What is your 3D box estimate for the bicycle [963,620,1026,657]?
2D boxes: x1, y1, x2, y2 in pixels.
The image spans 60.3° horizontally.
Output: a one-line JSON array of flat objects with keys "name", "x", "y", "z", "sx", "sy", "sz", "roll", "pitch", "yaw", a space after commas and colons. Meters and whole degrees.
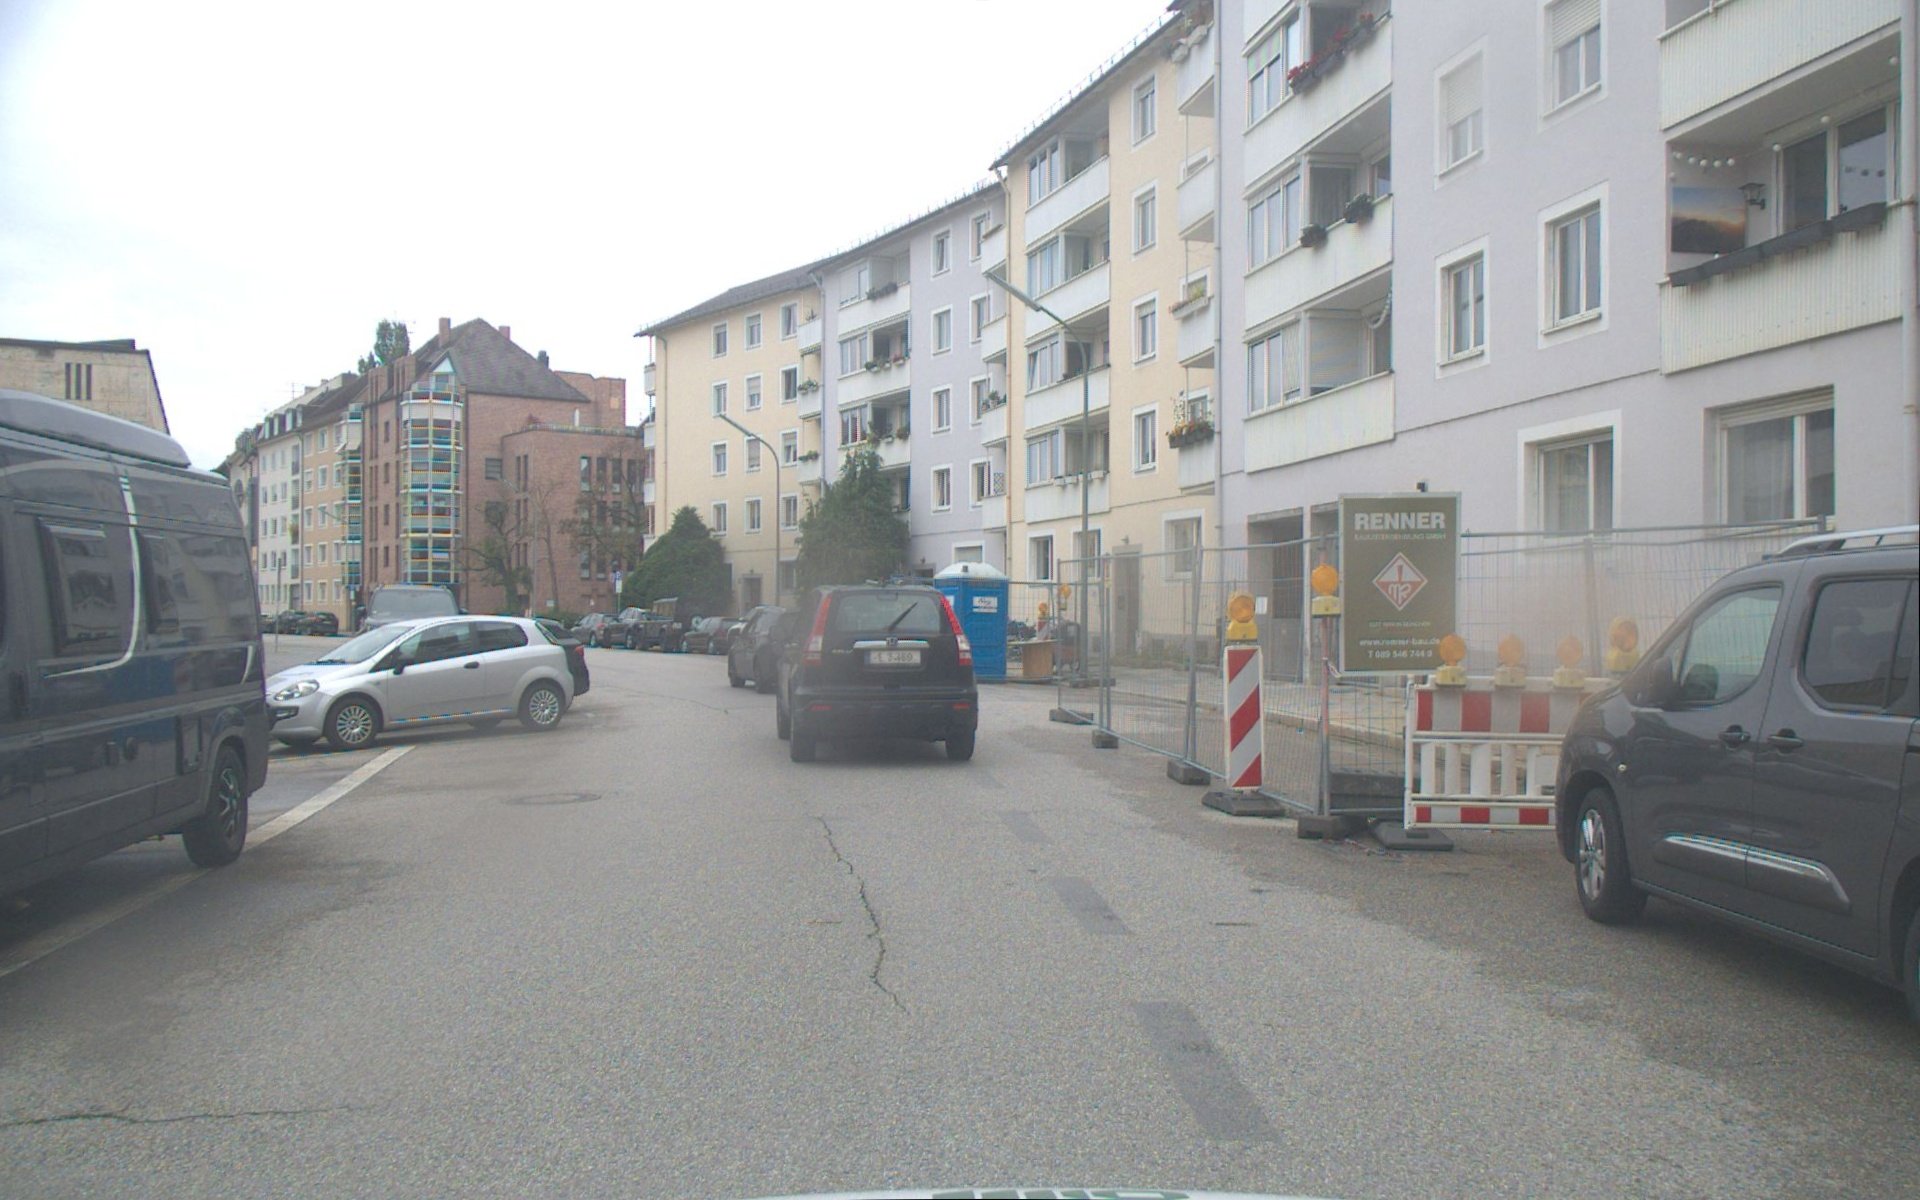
[{"name": "bicycle", "x": 1.046, "y": 1.159, "z": 50.350, "sx": 1.836, "sy": 1.110, "sz": 0.643, "roll": 0, "pitch": -1, "yaw": -17}]

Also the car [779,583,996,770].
[{"name": "car", "x": -0.858, "y": 0.696, "z": 16.901, "sx": 1.855, "sy": 1.676, "sz": 3.984, "roll": 0, "pitch": 0, "yaw": -8}]

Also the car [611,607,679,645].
[{"name": "car", "x": -12.527, "y": 1.024, "z": 65.704, "sx": 1.678, "sy": 1.413, "sz": 3.569, "roll": 1, "pitch": 0, "yaw": -28}]

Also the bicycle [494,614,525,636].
[{"name": "bicycle", "x": -27.200, "y": 1.485, "z": 99.930, "sx": 1.732, "sy": 1.311, "sz": 0.548, "roll": 1, "pitch": -1, "yaw": -25}]

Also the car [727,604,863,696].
[{"name": "car", "x": -2.986, "y": 0.824, "z": 29.274, "sx": 1.652, "sy": 1.507, "sz": 4.067, "roll": 0, "pitch": 0, "yaw": -17}]

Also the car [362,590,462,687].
[{"name": "car", "x": -10.679, "y": 0.696, "z": 32.064, "sx": 1.655, "sy": 1.737, "sz": 4.485, "roll": 0, "pitch": 0, "yaw": -21}]

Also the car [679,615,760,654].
[{"name": "car", "x": -8.420, "y": 1.183, "z": 57.714, "sx": 1.678, "sy": 1.258, "sz": 3.569, "roll": 1, "pitch": 0, "yaw": -28}]

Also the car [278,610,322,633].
[{"name": "car", "x": -45.225, "y": 1.473, "z": 113.326, "sx": 1.794, "sy": 1.498, "sz": 4.063, "roll": 1, "pitch": 0, "yaw": -37}]

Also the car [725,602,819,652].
[{"name": "car", "x": -6.127, "y": 0.846, "z": 53.596, "sx": 1.704, "sy": 1.509, "sz": 3.963, "roll": 1, "pitch": 0, "yaw": -28}]

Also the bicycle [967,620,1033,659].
[{"name": "bicycle", "x": 1.175, "y": 1.152, "z": 48.301, "sx": 1.836, "sy": 1.110, "sz": 0.643, "roll": 0, "pitch": -1, "yaw": -17}]

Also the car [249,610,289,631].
[{"name": "car", "x": -50.474, "y": 1.496, "z": 120.826, "sx": 1.794, "sy": 1.498, "sz": 4.063, "roll": 1, "pitch": 0, "yaw": -37}]

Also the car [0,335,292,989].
[{"name": "car", "x": -5.214, "y": 0.264, "z": 8.160, "sx": 2.124, "sy": 2.688, "sz": 6.006, "roll": -1, "pitch": 0, "yaw": -8}]

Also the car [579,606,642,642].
[{"name": "car", "x": -14.697, "y": 0.985, "z": 69.528, "sx": 1.678, "sy": 1.413, "sz": 3.569, "roll": 1, "pitch": 0, "yaw": -28}]

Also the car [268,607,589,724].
[{"name": "car", "x": -7.491, "y": 0.869, "z": 23.546, "sx": 4.054, "sy": 1.507, "sz": 1.657, "roll": 1, "pitch": 0, "yaw": -44}]

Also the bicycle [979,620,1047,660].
[{"name": "bicycle", "x": 1.496, "y": 1.113, "z": 46.662, "sx": 1.836, "sy": 1.110, "sz": 0.563, "roll": 0, "pitch": -1, "yaw": -17}]

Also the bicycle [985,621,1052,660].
[{"name": "bicycle", "x": 1.692, "y": 1.157, "z": 47.639, "sx": 1.836, "sy": 1.110, "sz": 0.563, "roll": 0, "pitch": -1, "yaw": -17}]

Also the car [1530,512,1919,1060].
[{"name": "car", "x": 4.047, "y": 0.645, "z": 6.796, "sx": 1.742, "sy": 1.838, "sz": 4.273, "roll": 2, "pitch": 0, "yaw": -3}]

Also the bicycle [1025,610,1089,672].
[{"name": "bicycle", "x": 2.252, "y": 0.940, "z": 38.851, "sx": 0.951, "sy": 1.413, "sz": 2.558, "roll": 1, "pitch": 0, "yaw": -10}]

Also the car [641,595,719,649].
[{"name": "car", "x": -10.499, "y": 0.794, "z": 61.741, "sx": 1.704, "sy": 1.911, "sz": 3.963, "roll": 1, "pitch": 0, "yaw": -28}]

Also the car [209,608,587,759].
[{"name": "car", "x": -6.835, "y": 0.984, "z": 20.389, "sx": 1.656, "sy": 1.507, "sz": 4.058, "roll": -5, "pitch": -2, "yaw": 45}]

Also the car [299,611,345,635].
[{"name": "car", "x": -42.400, "y": 1.536, "z": 109.872, "sx": 1.794, "sy": 1.498, "sz": 4.063, "roll": 1, "pitch": 0, "yaw": -37}]
